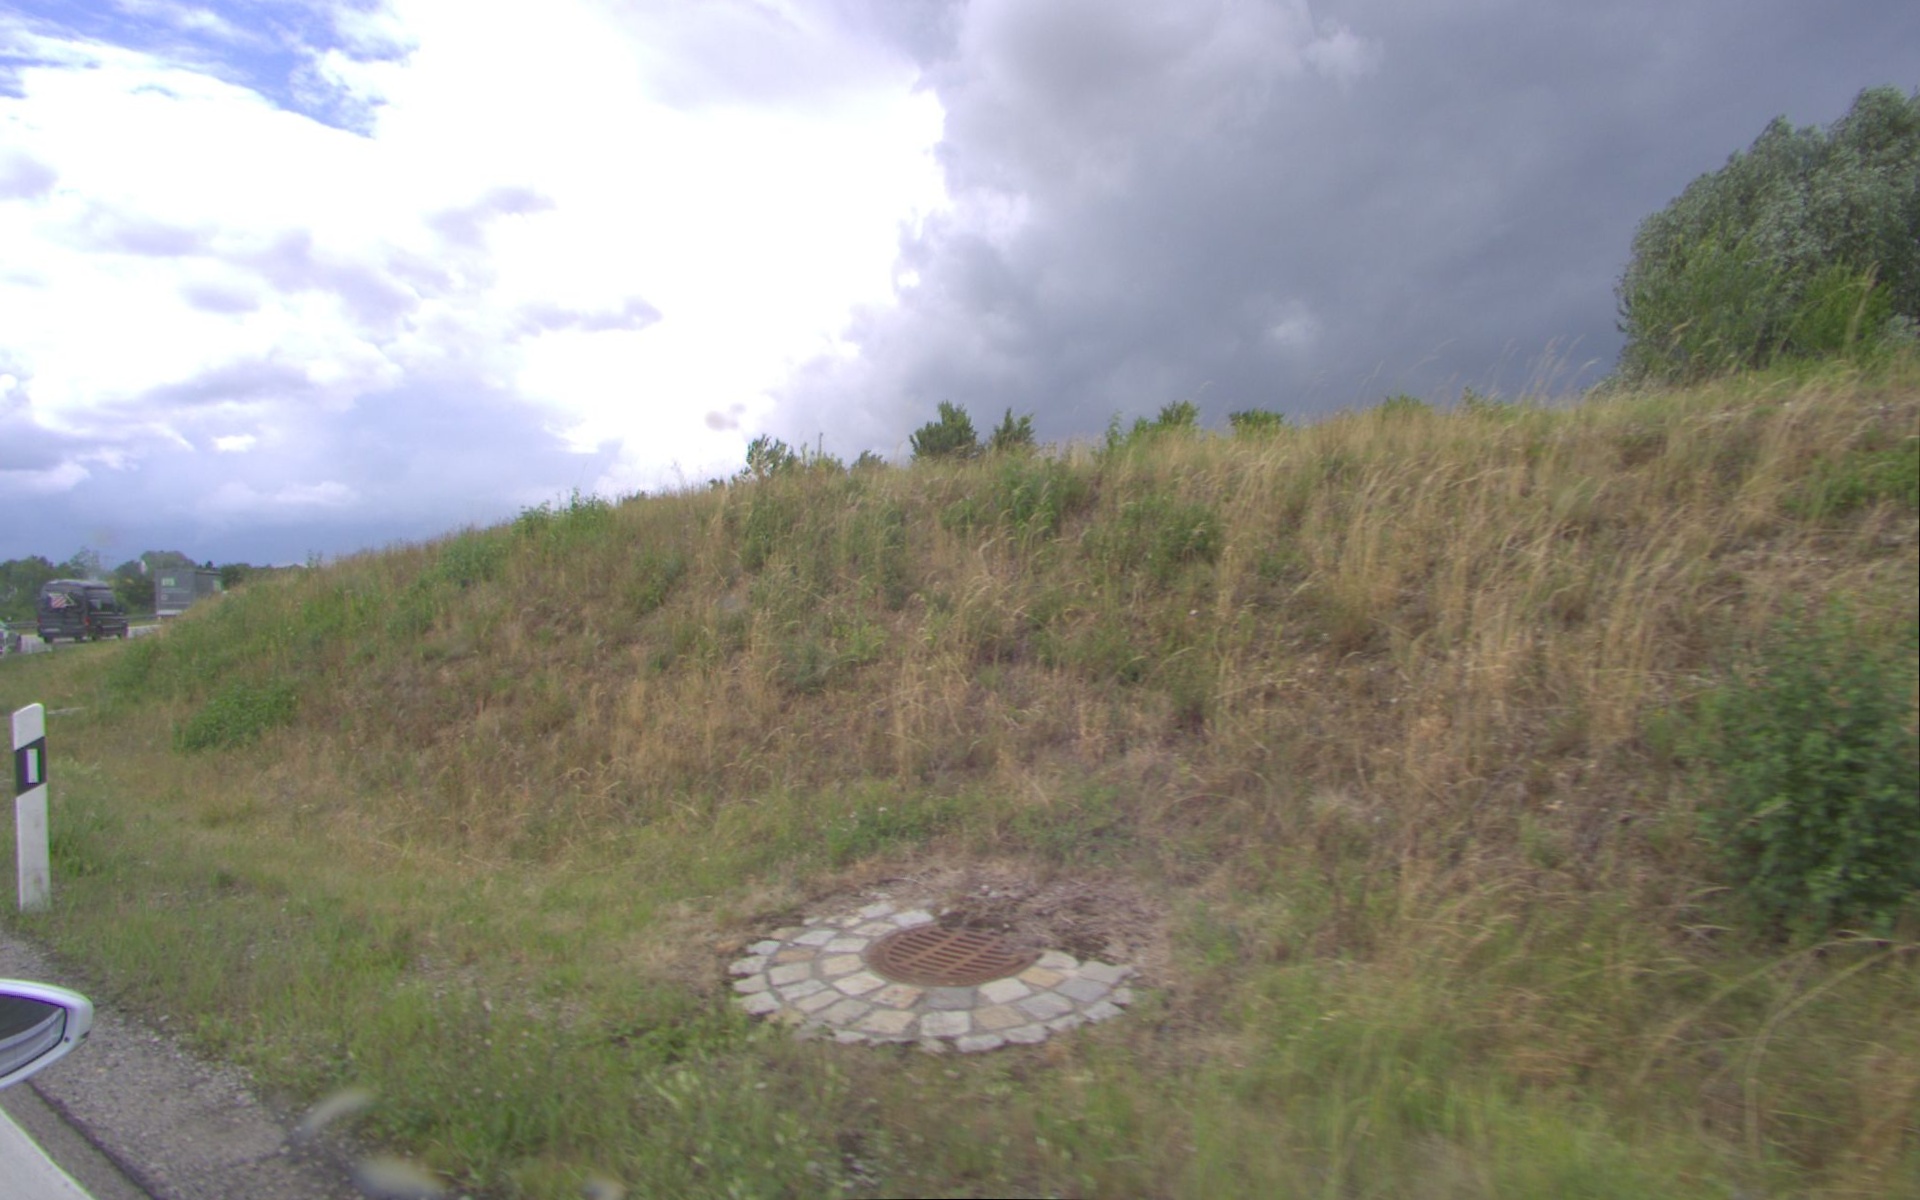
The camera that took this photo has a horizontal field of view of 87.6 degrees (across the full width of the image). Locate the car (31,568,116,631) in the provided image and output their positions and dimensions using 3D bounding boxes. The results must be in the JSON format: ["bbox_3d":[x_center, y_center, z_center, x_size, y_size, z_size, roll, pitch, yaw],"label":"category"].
[{"bbox_3d":[-42.074,0.035,47.617,2.080,2.832,3.983,1,-1,-27],"label":"car"}]

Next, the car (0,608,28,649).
[{"bbox_3d":[-37.471,1.094,38.294,1.846,1.529,3.980,0,-1,-30],"label":"car"}]

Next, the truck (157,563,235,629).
[{"bbox_3d":[-49.150,-0.157,64.558,2.197,3.955,6.006,0,-2,-19],"label":"truck"}]
